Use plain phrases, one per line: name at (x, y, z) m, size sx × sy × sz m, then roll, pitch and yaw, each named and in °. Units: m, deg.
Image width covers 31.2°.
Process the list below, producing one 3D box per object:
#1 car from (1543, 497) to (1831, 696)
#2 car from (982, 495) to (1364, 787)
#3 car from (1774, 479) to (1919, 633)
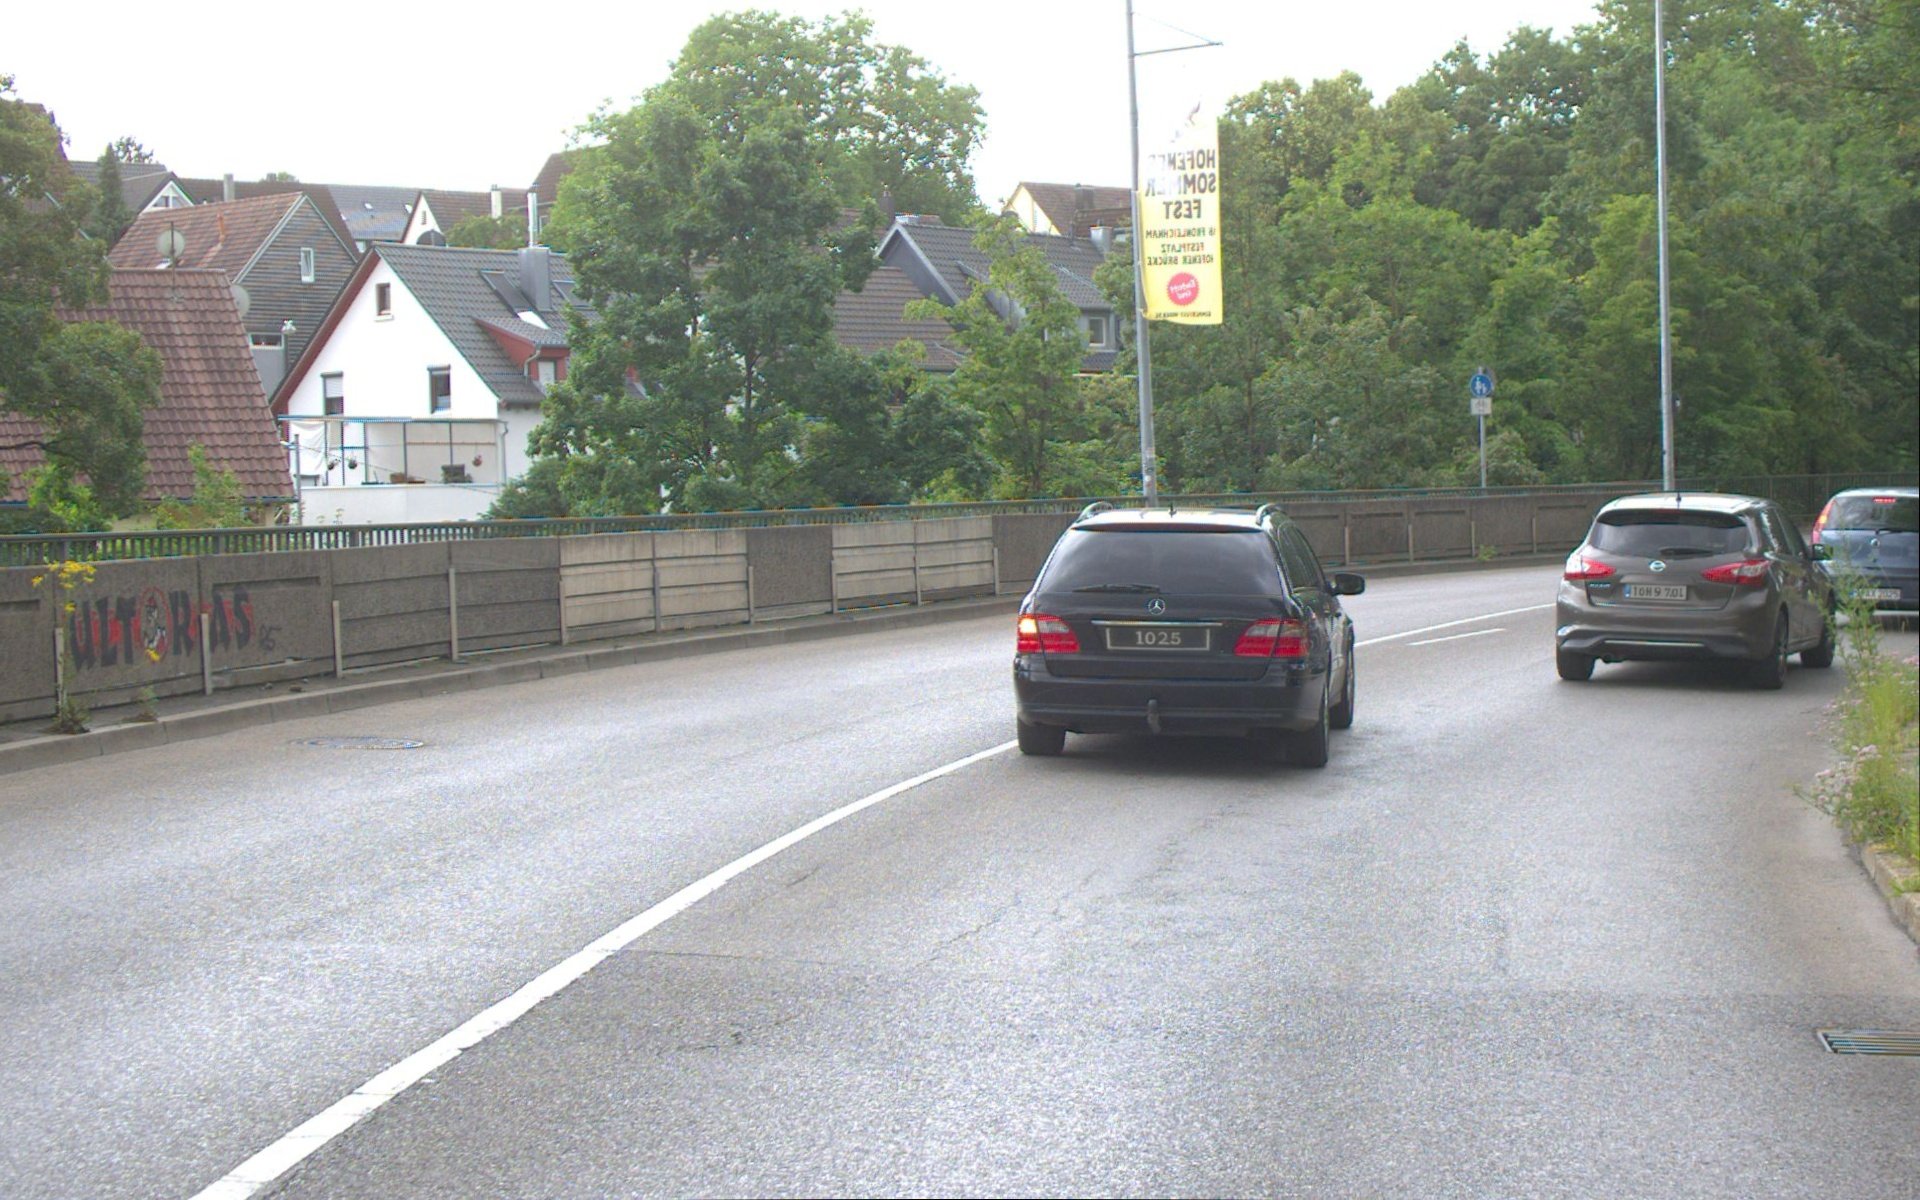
car at (6.105, -0.093, 28.563) m, size 1.776 × 1.489 × 3.996 m, roll 2°, pitch 2°, yaw 20°
car at (1.409, 0.154, 20.953) m, size 1.852 × 1.481 × 4.420 m, roll 2°, pitch 3°, yaw 9°
car at (10.134, -0.506, 37.116) m, size 1.895 × 1.568 × 3.995 m, roll 1°, pitch 2°, yaw 24°
